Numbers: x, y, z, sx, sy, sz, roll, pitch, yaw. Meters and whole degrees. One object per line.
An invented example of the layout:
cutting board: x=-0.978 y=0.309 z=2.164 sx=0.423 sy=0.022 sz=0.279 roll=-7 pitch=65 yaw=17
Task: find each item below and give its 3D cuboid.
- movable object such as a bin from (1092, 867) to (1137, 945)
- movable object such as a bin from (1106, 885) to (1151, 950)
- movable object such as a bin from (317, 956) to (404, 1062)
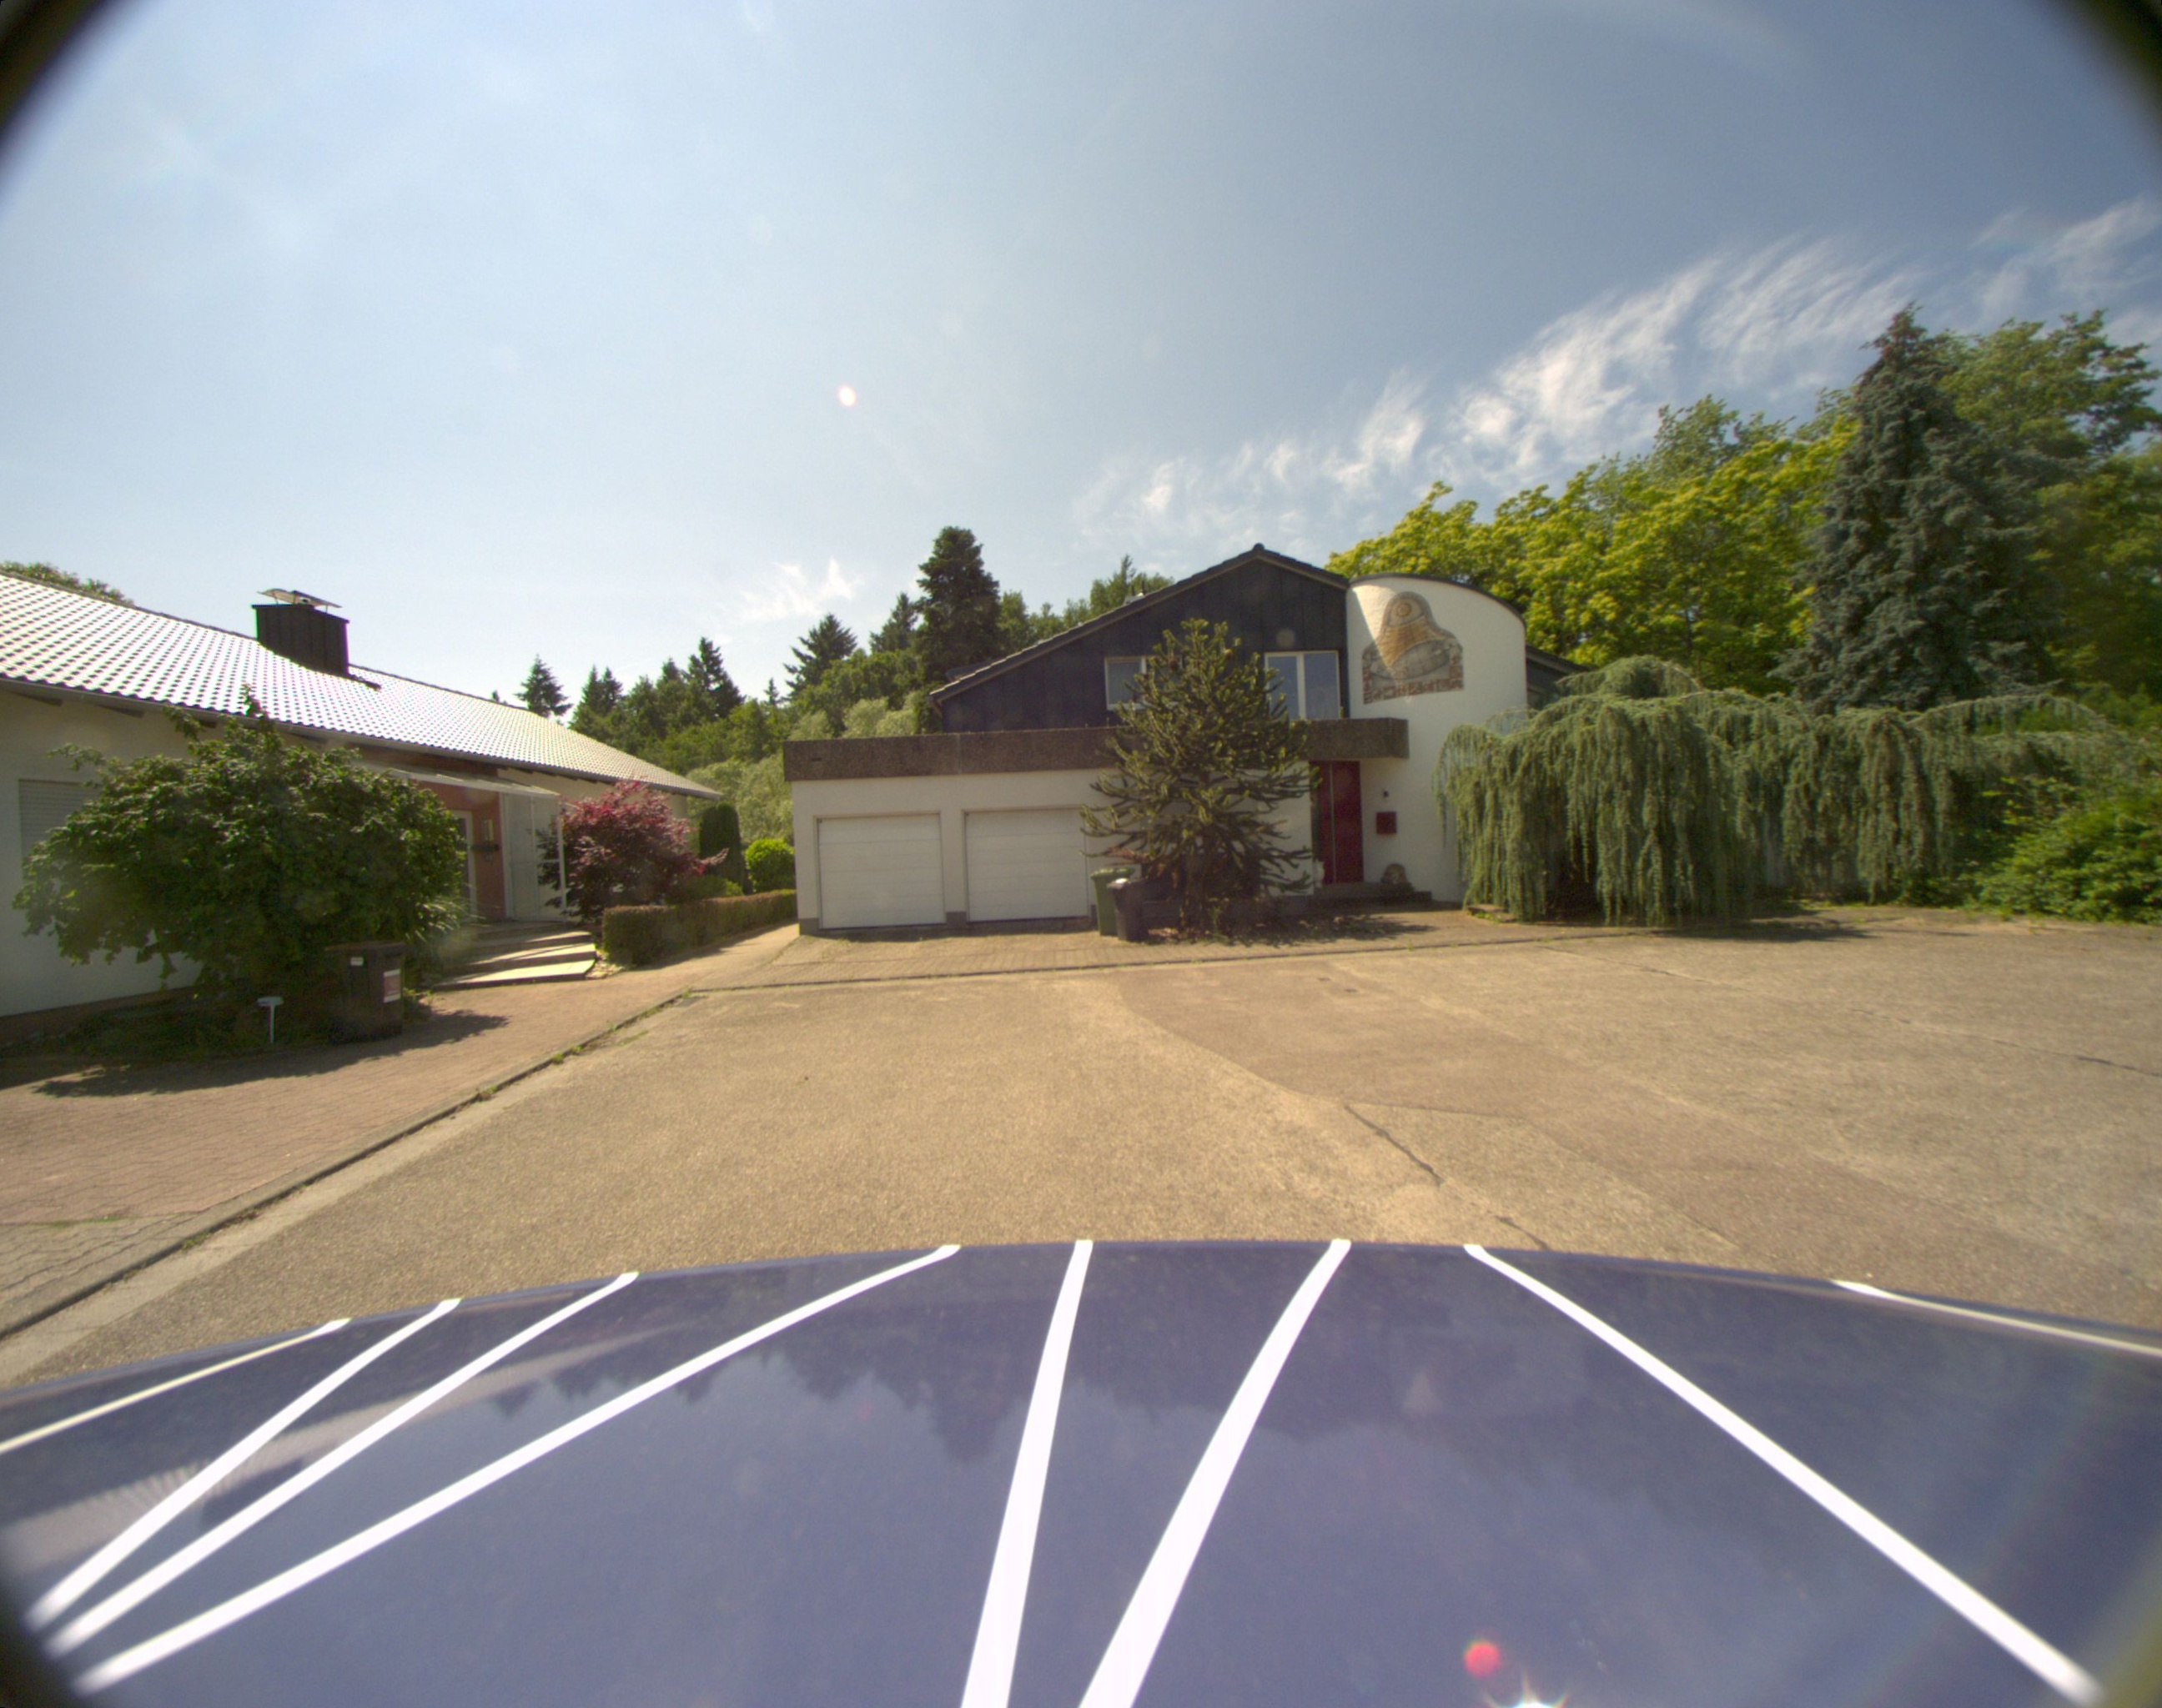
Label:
movable object such as a bin: x=0.541 y=0.836 z=12.394 sx=0.633 sy=1.196 sz=0.551 roll=-3 pitch=1 yaw=-2
movable object such as a bin: x=0.729 y=0.966 z=11.687 sx=0.524 sy=0.944 sz=0.388 roll=-3 pitch=1 yaw=-28
movable object such as a bin: x=-6.700 y=1.433 z=7.079 sx=0.390 sy=0.886 sz=0.375 roll=-3 pitch=2 yaw=-3
